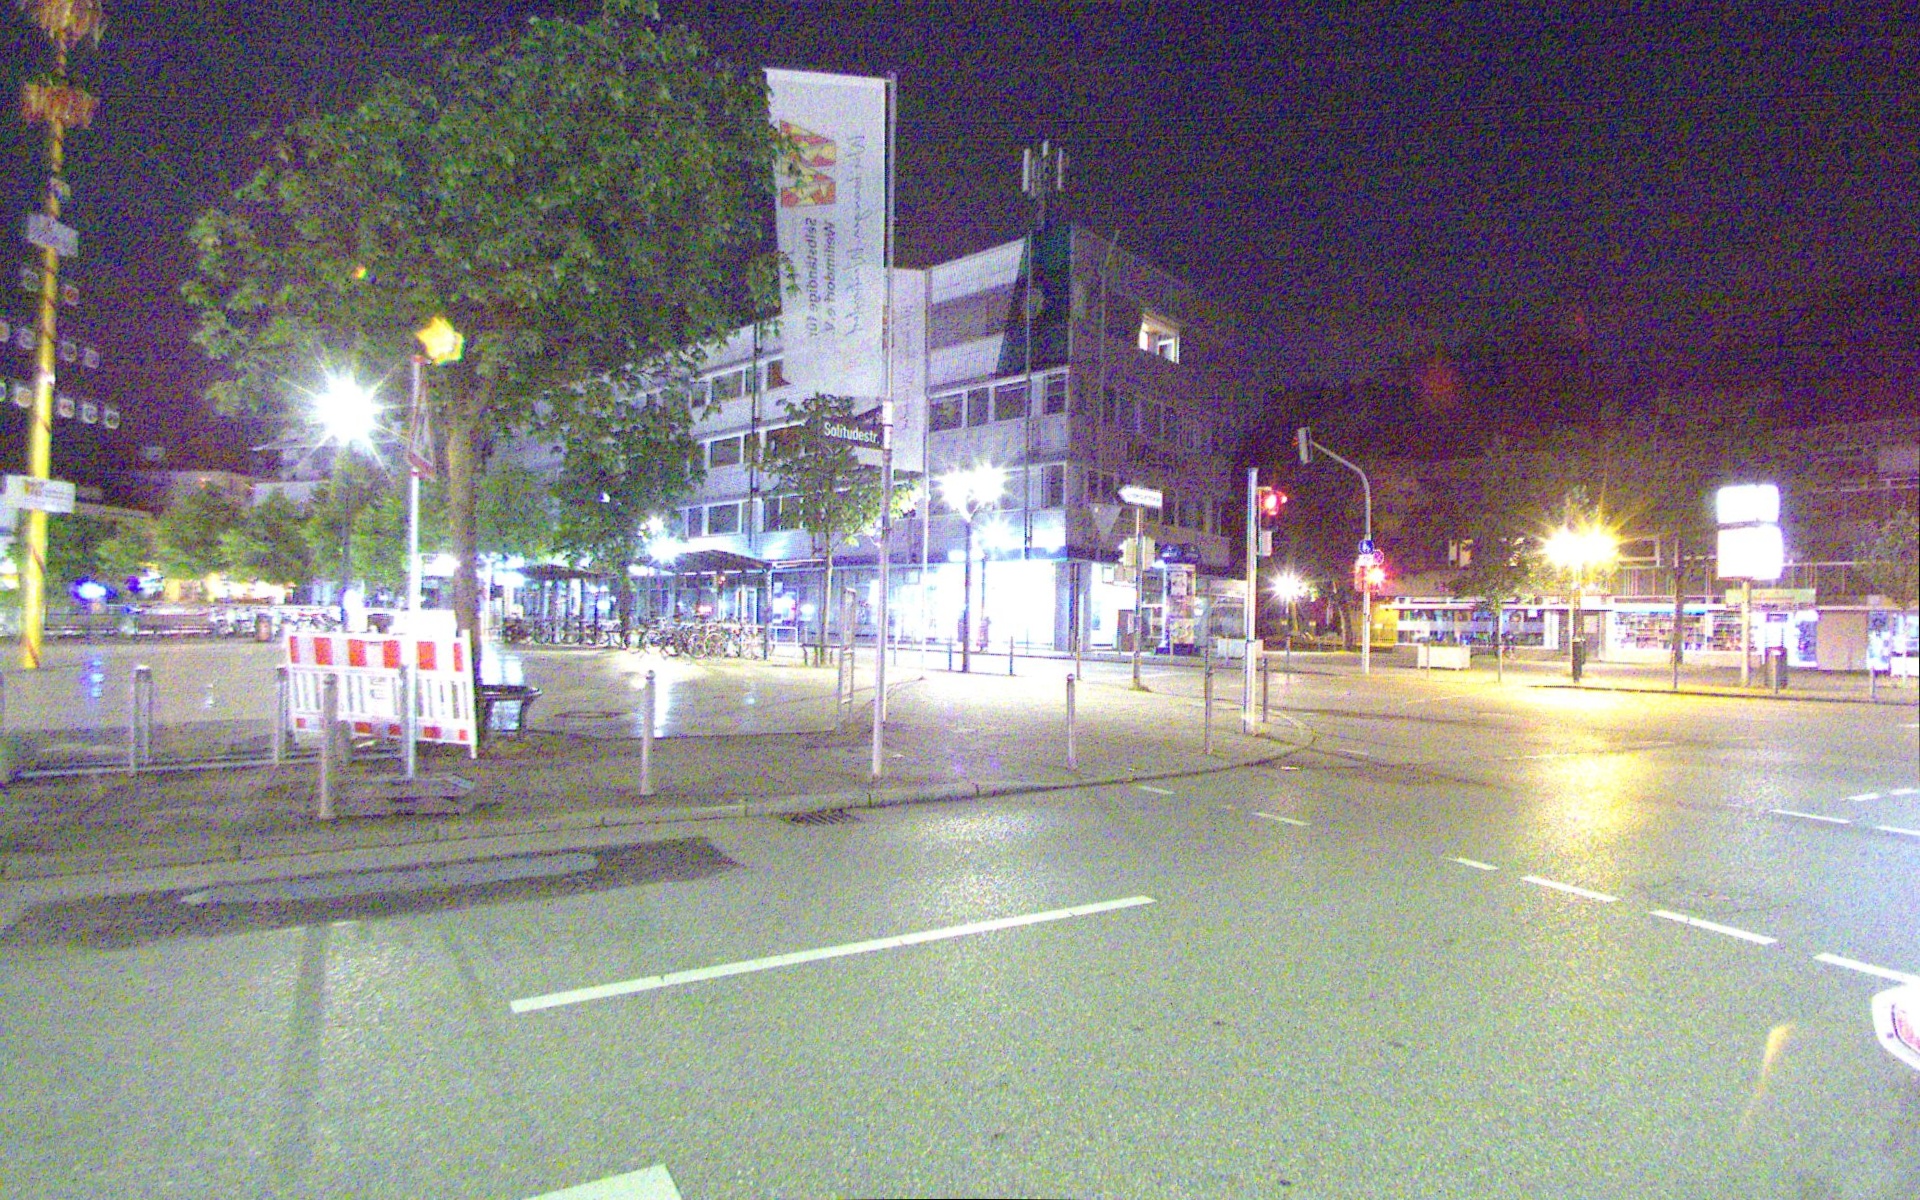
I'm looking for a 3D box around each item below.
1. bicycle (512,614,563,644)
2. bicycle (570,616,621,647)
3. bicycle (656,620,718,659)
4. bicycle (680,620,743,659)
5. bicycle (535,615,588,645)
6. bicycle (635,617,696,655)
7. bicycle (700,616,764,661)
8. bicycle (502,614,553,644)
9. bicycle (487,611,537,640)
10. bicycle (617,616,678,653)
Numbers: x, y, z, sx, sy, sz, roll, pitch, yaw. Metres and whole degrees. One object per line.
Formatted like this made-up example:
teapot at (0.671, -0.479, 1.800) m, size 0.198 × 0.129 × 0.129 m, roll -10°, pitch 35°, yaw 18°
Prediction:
bicycle at (-14.180, 0.983, 33.739) m, size 0.473 × 0.970 × 1.525 m, roll 2°, pitch 0°, yaw 44°
bicycle at (-12.009, 1.031, 33.103) m, size 0.473 × 0.970 × 1.525 m, roll 2°, pitch 0°, yaw 44°
bicycle at (-7.093, 1.024, 26.132) m, size 0.473 × 0.970 × 1.525 m, roll 2°, pitch 0°, yaw 44°
bicycle at (-6.315, 0.998, 25.566) m, size 0.440 × 0.970 × 1.525 m, roll 2°, pitch 0°, yaw 43°
bicycle at (-13.133, 0.997, 33.126) m, size 0.473 × 0.970 × 1.525 m, roll 2°, pitch 0°, yaw 44°
bicycle at (-7.846, 0.955, 26.823) m, size 0.473 × 0.970 × 1.525 m, roll 2°, pitch 0°, yaw 44°
bicycle at (-5.646, 0.944, 24.925) m, size 0.440 × 1.068 × 1.525 m, roll 2°, pitch 0°, yaw 43°
bicycle at (-14.780, 0.992, 34.358) m, size 0.473 × 0.970 × 1.525 m, roll 2°, pitch 0°, yaw 44°
bicycle at (-15.547, 0.883, 34.884) m, size 0.473 × 0.970 × 1.525 m, roll 2°, pitch 0°, yaw 44°
bicycle at (-8.526, 0.938, 27.424) m, size 0.473 × 0.970 × 1.525 m, roll 2°, pitch 0°, yaw 44°
